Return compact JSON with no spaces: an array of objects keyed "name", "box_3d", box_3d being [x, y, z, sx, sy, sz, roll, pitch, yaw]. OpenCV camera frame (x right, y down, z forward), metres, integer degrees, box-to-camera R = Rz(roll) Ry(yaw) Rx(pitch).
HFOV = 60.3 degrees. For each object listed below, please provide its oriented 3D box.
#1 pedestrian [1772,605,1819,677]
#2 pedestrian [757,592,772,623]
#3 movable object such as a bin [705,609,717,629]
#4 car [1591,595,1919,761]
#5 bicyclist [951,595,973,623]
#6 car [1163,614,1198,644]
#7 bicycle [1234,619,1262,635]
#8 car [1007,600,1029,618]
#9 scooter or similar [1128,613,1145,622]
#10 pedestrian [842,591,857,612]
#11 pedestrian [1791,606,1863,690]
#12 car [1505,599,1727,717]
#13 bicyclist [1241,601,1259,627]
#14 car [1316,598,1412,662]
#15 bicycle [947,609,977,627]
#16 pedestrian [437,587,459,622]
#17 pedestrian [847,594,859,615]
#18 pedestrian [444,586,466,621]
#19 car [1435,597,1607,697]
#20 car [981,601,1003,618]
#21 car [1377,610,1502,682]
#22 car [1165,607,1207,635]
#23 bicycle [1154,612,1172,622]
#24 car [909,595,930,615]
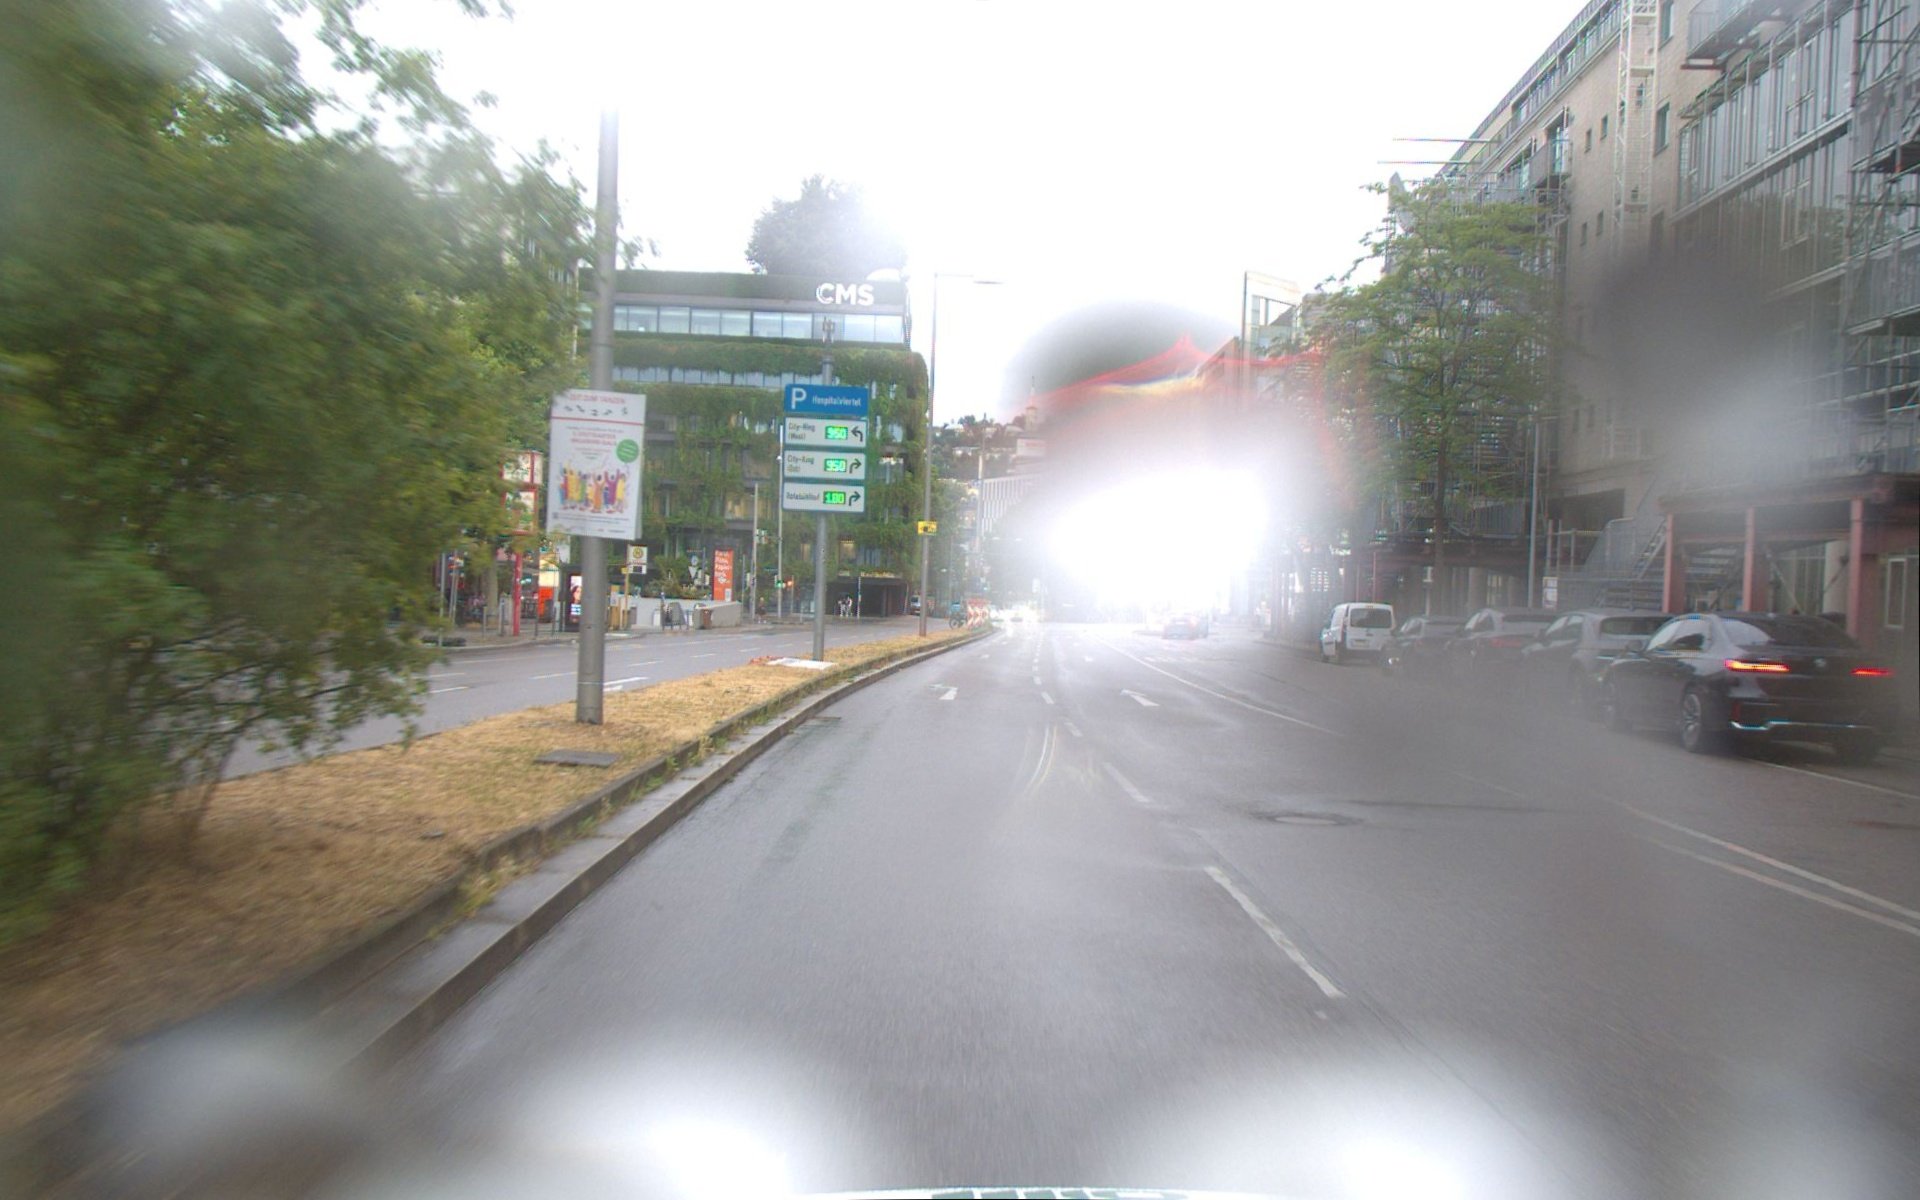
[{"name":"pedestrian","box_3d":[18.470,0.894,36.561,0.666,1.545,0.767,1,0,6]},{"name":"pedestrian","box_3d":[-12.380,0.449,104.575,0.789,1.918,0.866,-3,0,-3]},{"name":"movable object such as a bin","box_3d":[-11.272,0.853,74.948,0.521,0.913,0.681,0,0,-6]},{"name":"car","box_3d":[9.133,0.791,19.382,1.951,1.629,5.293,1,0,6]},{"name":"bicyclist","box_3d":[0.143,0.560,103.913,0.830,1.734,1.295,1,0,32]},{"name":"car","box_3d":[12.097,1.580,91.047,1.741,1.567,4.149,1,0,5]},{"name":"bicycle","box_3d":[22.806,2.140,131.143,0.785,1.136,2.226,2,0,-37]},{"name":"car","box_3d":[5.393,0.849,153.110,1.952,1.577,4.557,1,0,2]},{"name":"scooter or similar","box_3d":[18.519,1.811,174.000,1.717,0.894,0.487,1,-1,-16]},{"name":"pedestrian","box_3d":[-9.293,0.131,138.771,0.921,1.788,1.165,1,0,-20]},{"name":"pedestrian","box_3d":[17.220,0.941,32.866,0.801,1.624,1.113,1,0,-1]},{"name":"car","box_3d":[10.012,0.816,25.652,1.822,1.629,4.594,1,0,3]},{"name":"bicyclist","box_3d":[22.964,1.109,130.965,0.785,2.009,1.100,2,-1,-37]},{"name":"car","box_3d":[12.031,0.867,49.510,1.952,1.780,4.528,1,0,3]},{"name":"bicycle","box_3d":[0.126,1.149,103.941,0.830,1.122,2.147,1,0,31]},{"name":"pedestrian","box_3d":[-21.624,0.199,69.876,0.675,1.476,0.583,2,0,0]},{"name":"pedestrian","box_3d":[-9.016,0.375,138.983,0.730,1.788,0.970,1,0,-20]},{"name":"pedestrian","box_3d":[-21.650,0.160,70.924,0.712,1.476,0.691,2,0,-4]},{"name":"car","box_3d":[10.386,0.815,31.017,1.951,1.675,4.865,1,0,5]},{"name":"car","box_3d":[3.068,0.911,159.204,1.819,1.474,4.618,1,0,-3]},{"name":"car","box_3d":[10.868,0.993,37.799,1.829,1.462,4.924,1,0,5]},{"name":"car","box_3d":[13.449,1.236,98.298,1.668,1.556,4.428,1,0,18]},{"name":"bicycle","box_3d":[20.246,1.682,164.725,1.756,0.950,0.476,1,0,6]},{"name":"car","box_3d":[-4.005,0.499,163.586,1.953,1.928,4.464,1,0,-1]}]
